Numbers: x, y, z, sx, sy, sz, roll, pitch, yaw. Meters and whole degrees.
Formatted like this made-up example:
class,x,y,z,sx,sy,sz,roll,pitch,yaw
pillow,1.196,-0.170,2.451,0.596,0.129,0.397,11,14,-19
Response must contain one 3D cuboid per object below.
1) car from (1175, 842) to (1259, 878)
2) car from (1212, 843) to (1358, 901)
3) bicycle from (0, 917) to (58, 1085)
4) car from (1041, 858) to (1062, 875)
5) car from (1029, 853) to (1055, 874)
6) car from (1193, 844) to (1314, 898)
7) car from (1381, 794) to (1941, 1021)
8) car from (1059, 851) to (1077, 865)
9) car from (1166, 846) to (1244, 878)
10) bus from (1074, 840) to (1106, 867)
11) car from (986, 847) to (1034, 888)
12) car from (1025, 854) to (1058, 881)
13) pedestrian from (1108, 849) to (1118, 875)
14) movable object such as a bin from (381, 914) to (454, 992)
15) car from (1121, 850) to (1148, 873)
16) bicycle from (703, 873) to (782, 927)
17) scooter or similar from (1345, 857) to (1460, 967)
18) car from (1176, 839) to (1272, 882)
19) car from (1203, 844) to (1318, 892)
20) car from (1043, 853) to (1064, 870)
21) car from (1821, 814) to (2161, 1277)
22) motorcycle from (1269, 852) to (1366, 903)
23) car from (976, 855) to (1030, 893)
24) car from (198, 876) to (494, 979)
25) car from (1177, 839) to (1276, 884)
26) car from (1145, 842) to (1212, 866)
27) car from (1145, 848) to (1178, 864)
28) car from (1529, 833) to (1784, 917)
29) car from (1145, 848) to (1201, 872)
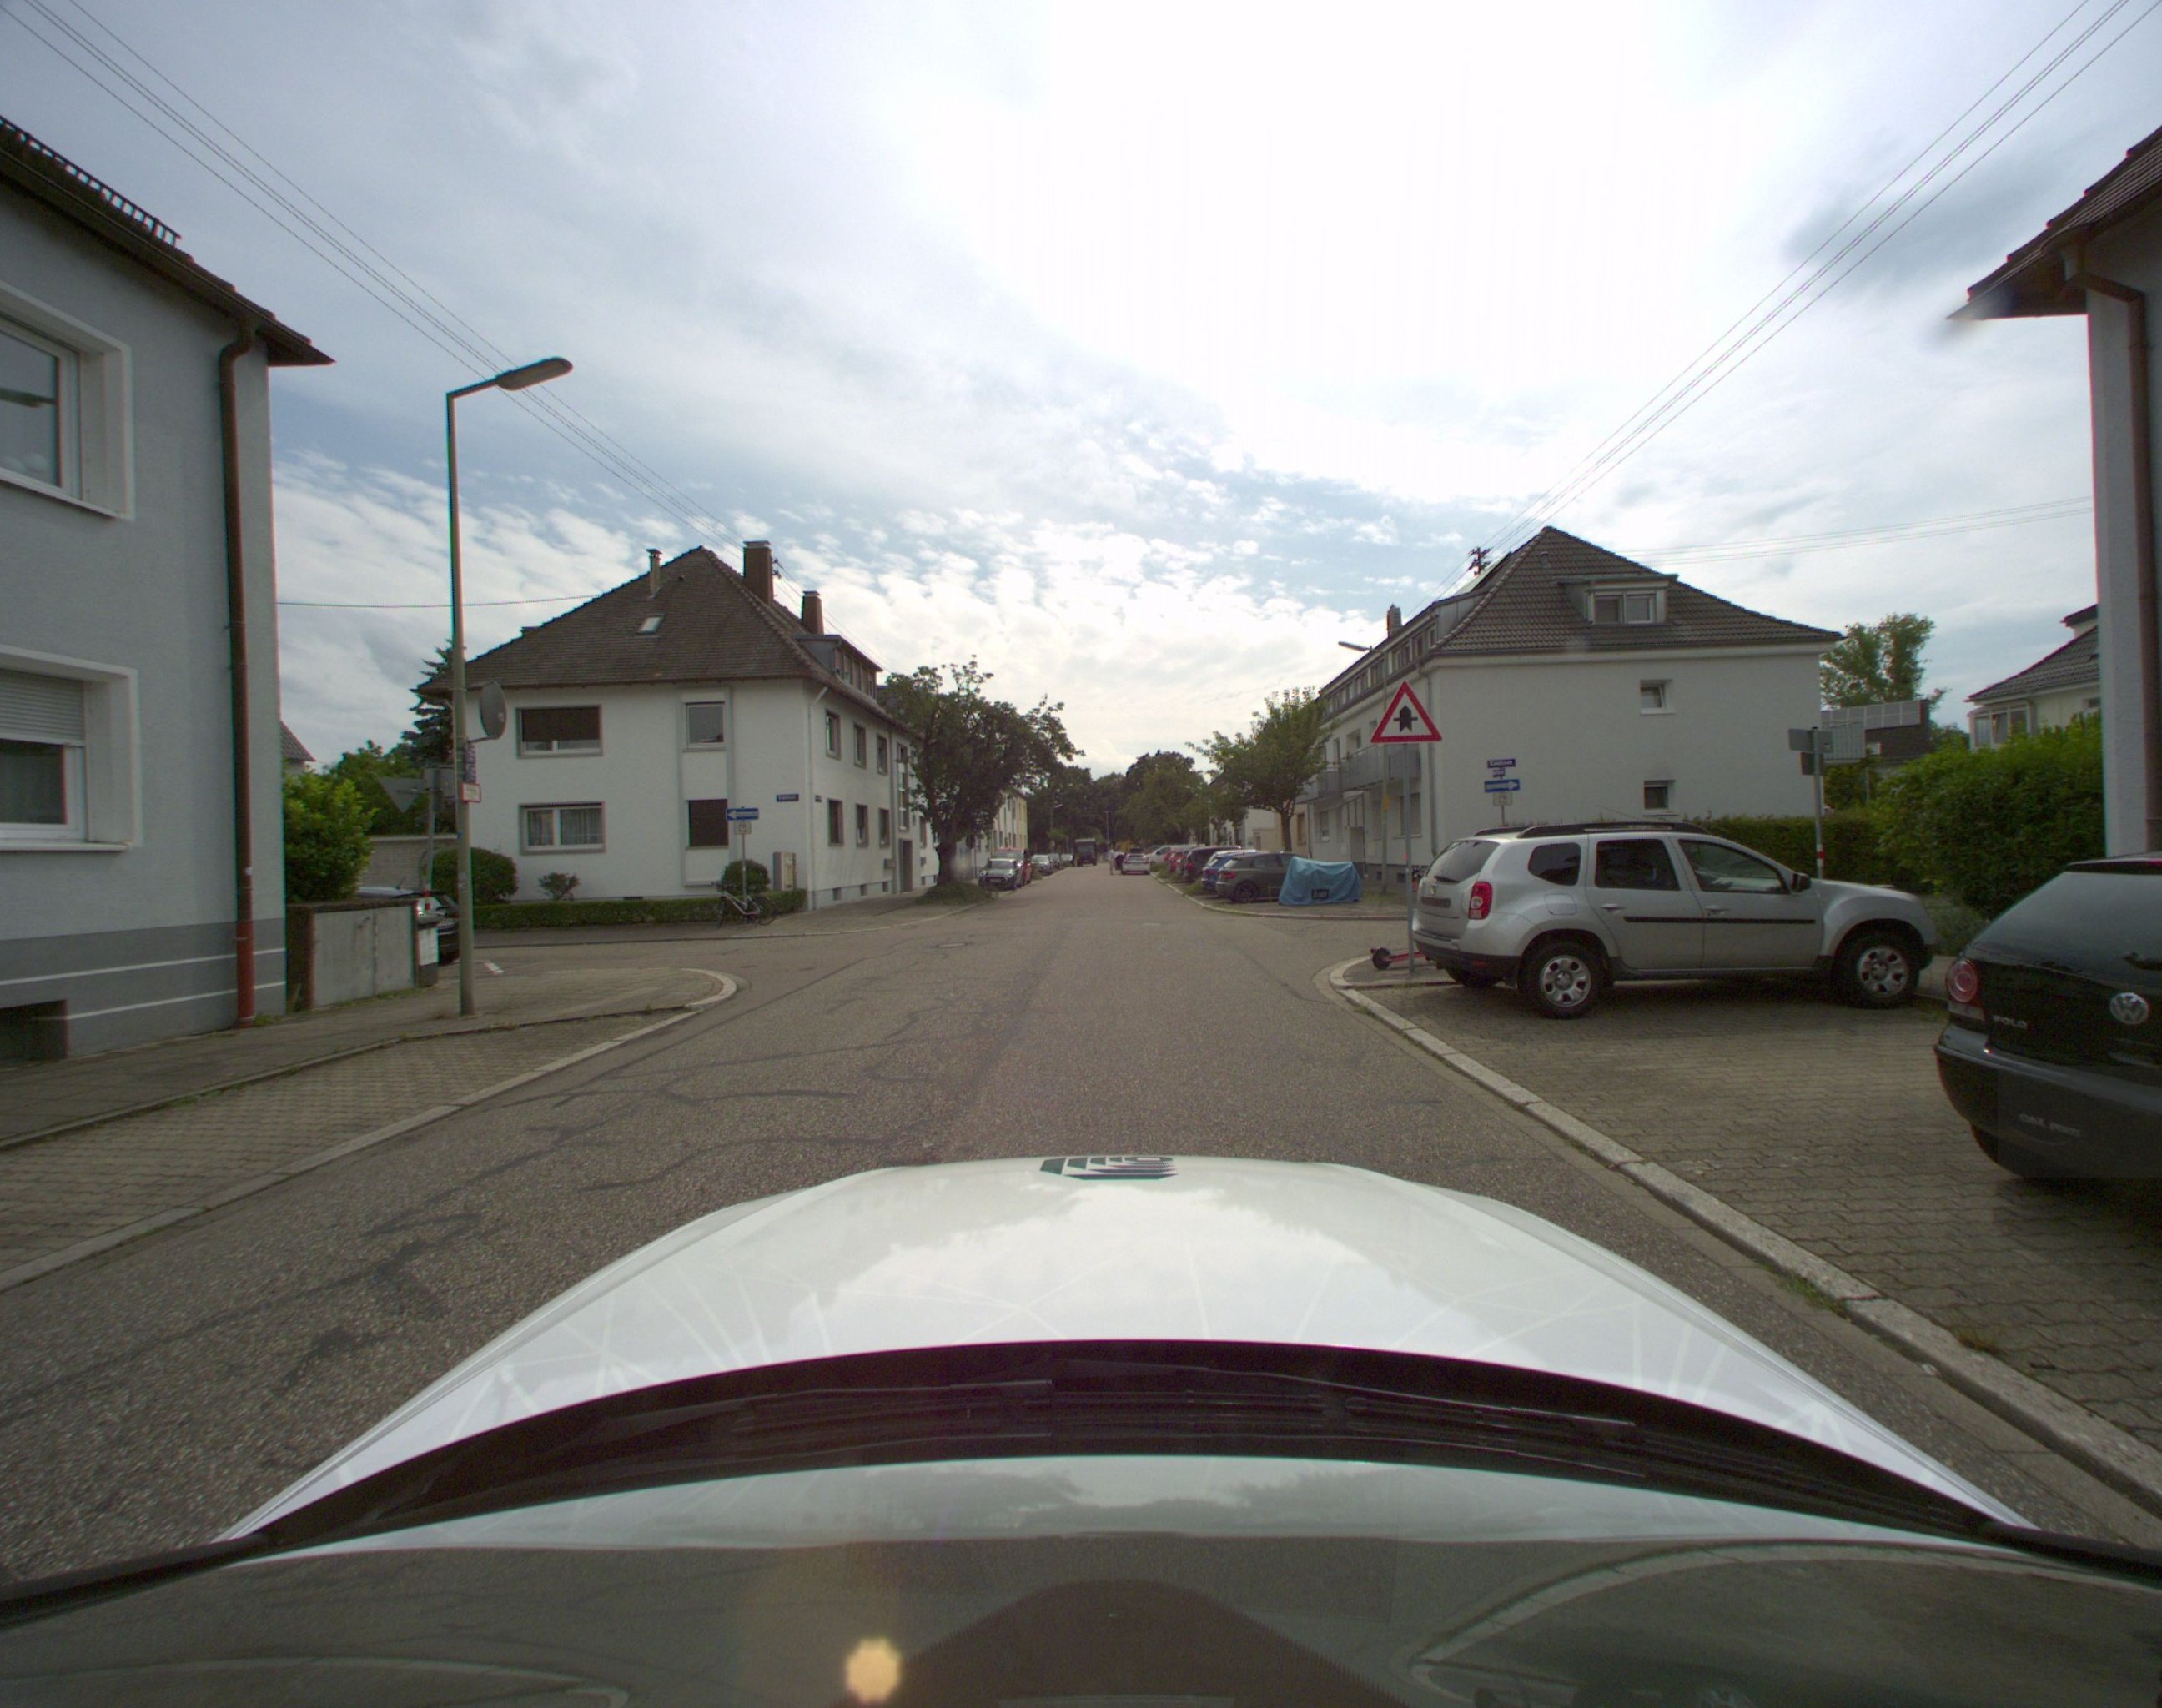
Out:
class,x,y,z,sx,sy,sz,roll,pitch,yaw
car,6.854,0.282,41.363,3.972,1.518,1.723,-4,0,2
car,5.743,0.493,23.308,3.732,1.365,1.774,-4,0,3
bicycle,-7.828,1.047,5.068,0.489,1.153,1.874,-2,0,2
car,-2.384,1.000,66.581,1.534,1.301,3.721,-4,0,0
car,-2.906,0.688,61.532,1.646,1.377,3.721,-4,0,0
car,5.422,0.527,25.946,3.503,1.412,1.560,-4,0,2
car,5.187,0.449,7.749,3.909,1.633,1.868,-4,0,1
car,-1.474,0.480,94.438,1.614,1.502,4.004,-4,0,3
car,6.731,0.440,44.584,3.972,1.438,1.723,-4,0,2
bus,1.066,-0.087,93.377,2.991,2.761,8.933,-4,0,4
car,-3.747,0.669,43.727,1.986,2.013,4.522,-2,0,2
car,-2.354,0.818,49.741,1.645,1.461,3.554,-4,0,2
pedestrian,2.129,0.505,54.756,0.519,1.704,0.445,-4,0,6
movable object such as a bin,-8.469,1.248,10.405,0.485,0.907,0.475,-4,0,-4
car,3.618,0.490,55.443,1.680,1.354,3.830,-4,0,4
bicycle,-8.169,1.108,19.674,1.629,1.179,0.435,-4,0,-2
scooter or similar,4.011,0.706,10.173,1.239,1.243,0.420,-4,0,-11
car,6.395,0.289,36.738,3.970,1.618,1.869,-4,0,3
car,6.816,0.518,31.230,3.972,1.518,1.723,-4,0,2
car,-2.532,0.695,75.161,1.645,1.377,3.723,-4,0,2
car,5.382,0.496,2.817,3.971,1.421,1.713,-4,0,2
motorcycle,6.026,0.588,20.827,2.186,1.210,0.940,-2,0,0
car,-3.635,0.887,38.456,1.755,1.554,3.737,-4,0,6
car,-12.734,1.245,14.237,3.737,1.422,1.667,-4,0,6
car,5.935,0.310,33.554,3.732,1.564,1.774,-4,0,3
car,7.592,-0.012,63.627,4.958,1.518,1.768,-4,0,0
car,9.198,0.194,93.287,3.515,1.602,1.774,-4,0,3
car,11.215,0.394,16.071,3.787,1.443,1.664,-2,0,2
car,6.894,0.435,61.316,3.972,1.518,1.723,-4,0,2
